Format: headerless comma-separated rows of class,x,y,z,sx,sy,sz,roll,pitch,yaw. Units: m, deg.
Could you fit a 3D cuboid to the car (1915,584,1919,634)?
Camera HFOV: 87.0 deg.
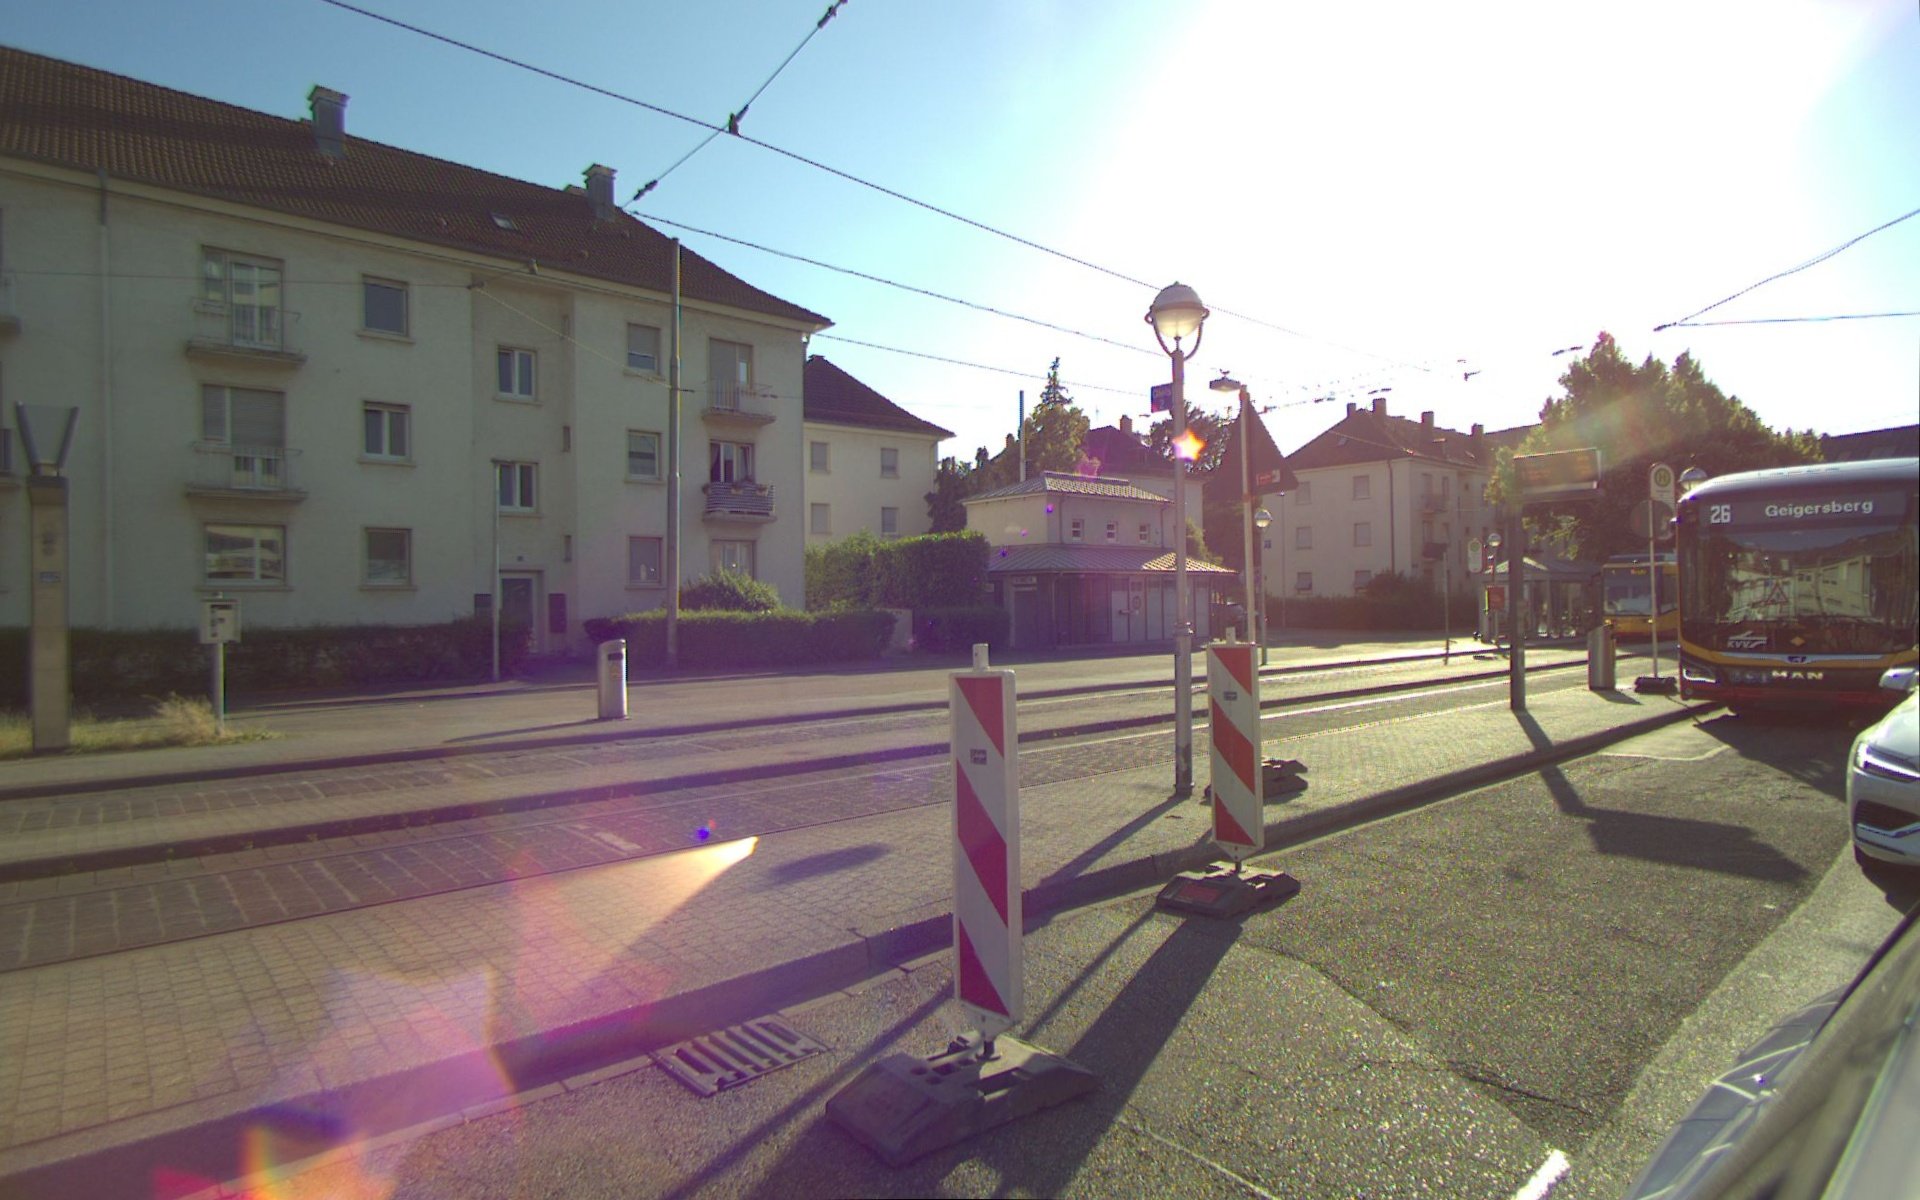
car,34.124,0.304,34.441,3.930,1.695,1.997,0,0,-41

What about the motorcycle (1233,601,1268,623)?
motorcycle,15.774,0.671,54.983,0.549,1.177,1.823,0,0,-43

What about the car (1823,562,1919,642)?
car,21.551,0.042,23.305,3.930,1.695,1.997,0,0,-41

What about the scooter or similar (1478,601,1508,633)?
scooter or similar,20.709,0.642,39.291,1.185,1.223,0.468,-1,0,-30

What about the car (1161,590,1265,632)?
car,11.670,0.477,46.923,1.963,1.791,4.451,-1,1,-37

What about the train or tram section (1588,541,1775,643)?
train or tram section,30.100,-0.520,41.682,15.698,3.578,2.961,-2,2,-42

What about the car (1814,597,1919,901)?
car,6.770,0.716,5.815,4.368,1.481,1.998,0,0,-38

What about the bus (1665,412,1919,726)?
bus,14.329,-0.370,15.851,11.810,3.460,2.692,0,0,-42
